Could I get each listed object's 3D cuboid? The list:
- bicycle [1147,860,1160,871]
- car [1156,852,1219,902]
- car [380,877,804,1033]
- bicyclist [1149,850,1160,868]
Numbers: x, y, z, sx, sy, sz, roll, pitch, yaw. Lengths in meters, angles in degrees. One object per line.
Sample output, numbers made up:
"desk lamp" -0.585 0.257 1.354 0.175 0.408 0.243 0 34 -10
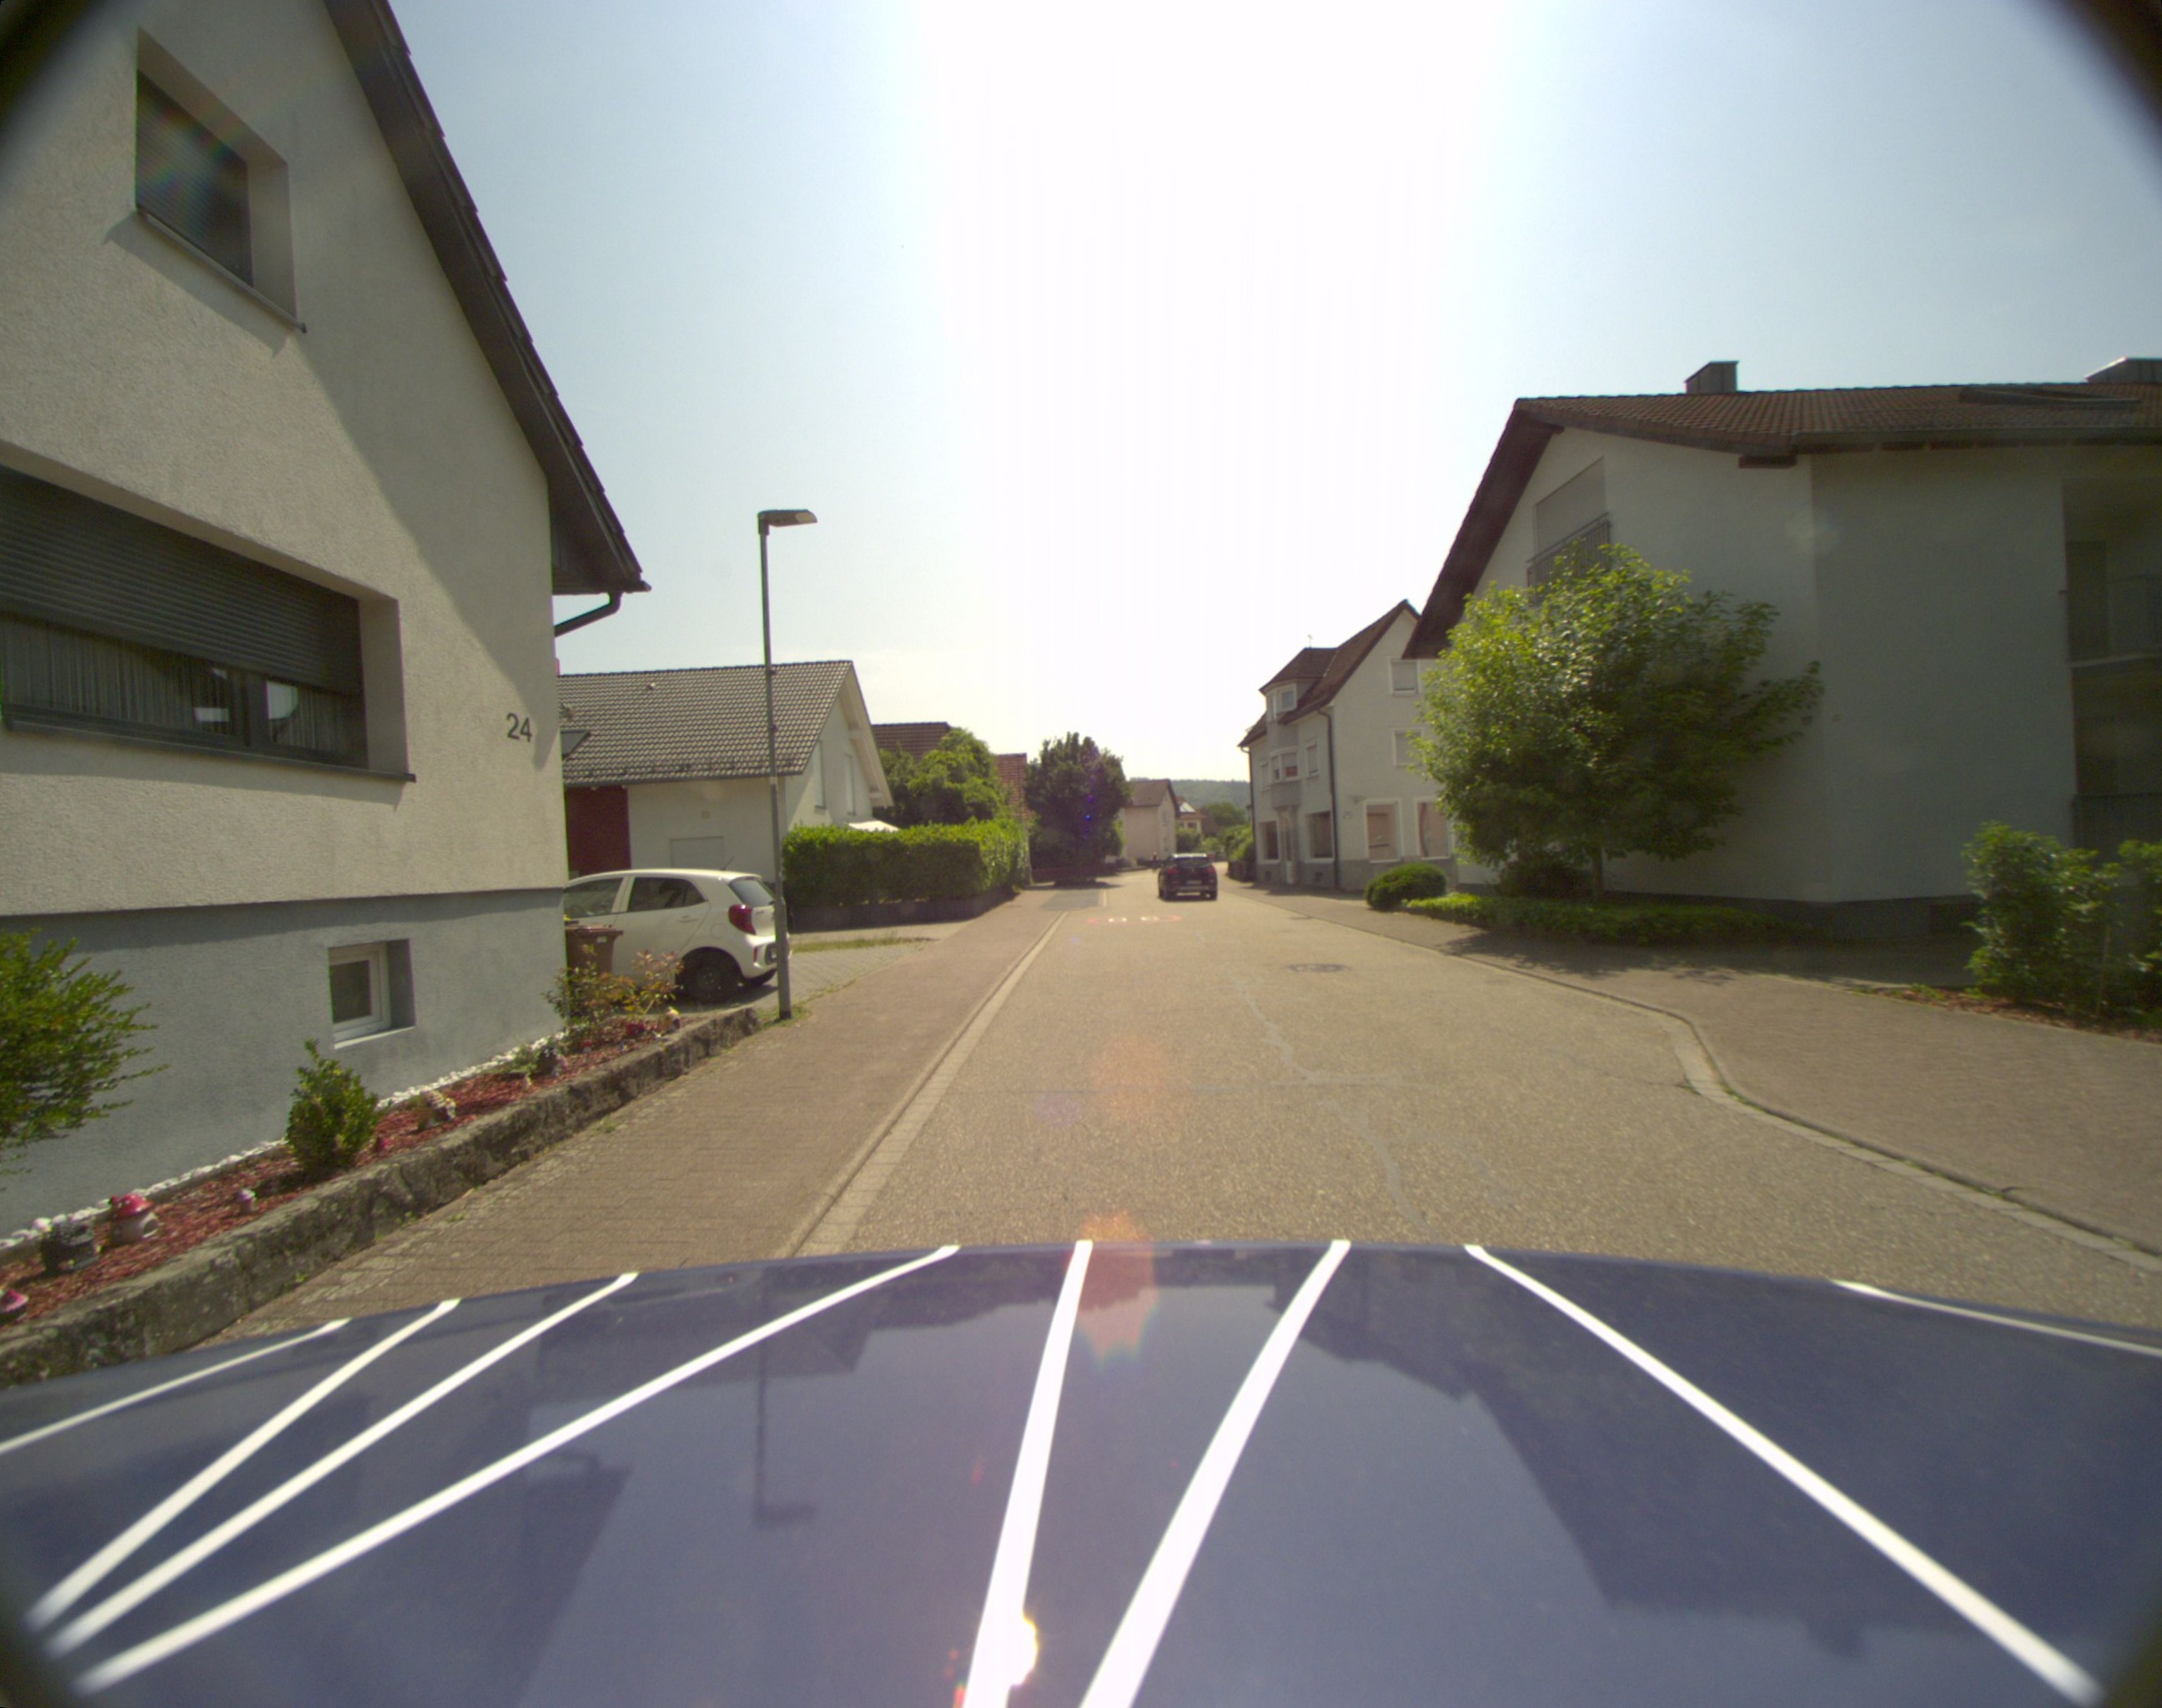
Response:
"bicycle" 6.147 0.954 64.249 0.520 0.898 1.315 -2 1 32
"car" 3.762 0.788 27.394 1.780 1.614 4.106 -1 0 1
"car" -5.337 1.051 8.736 3.668 1.465 1.765 -1 -1 -5
"bicyclist" 6.224 0.401 64.411 0.546 1.481 0.798 -2 1 33
